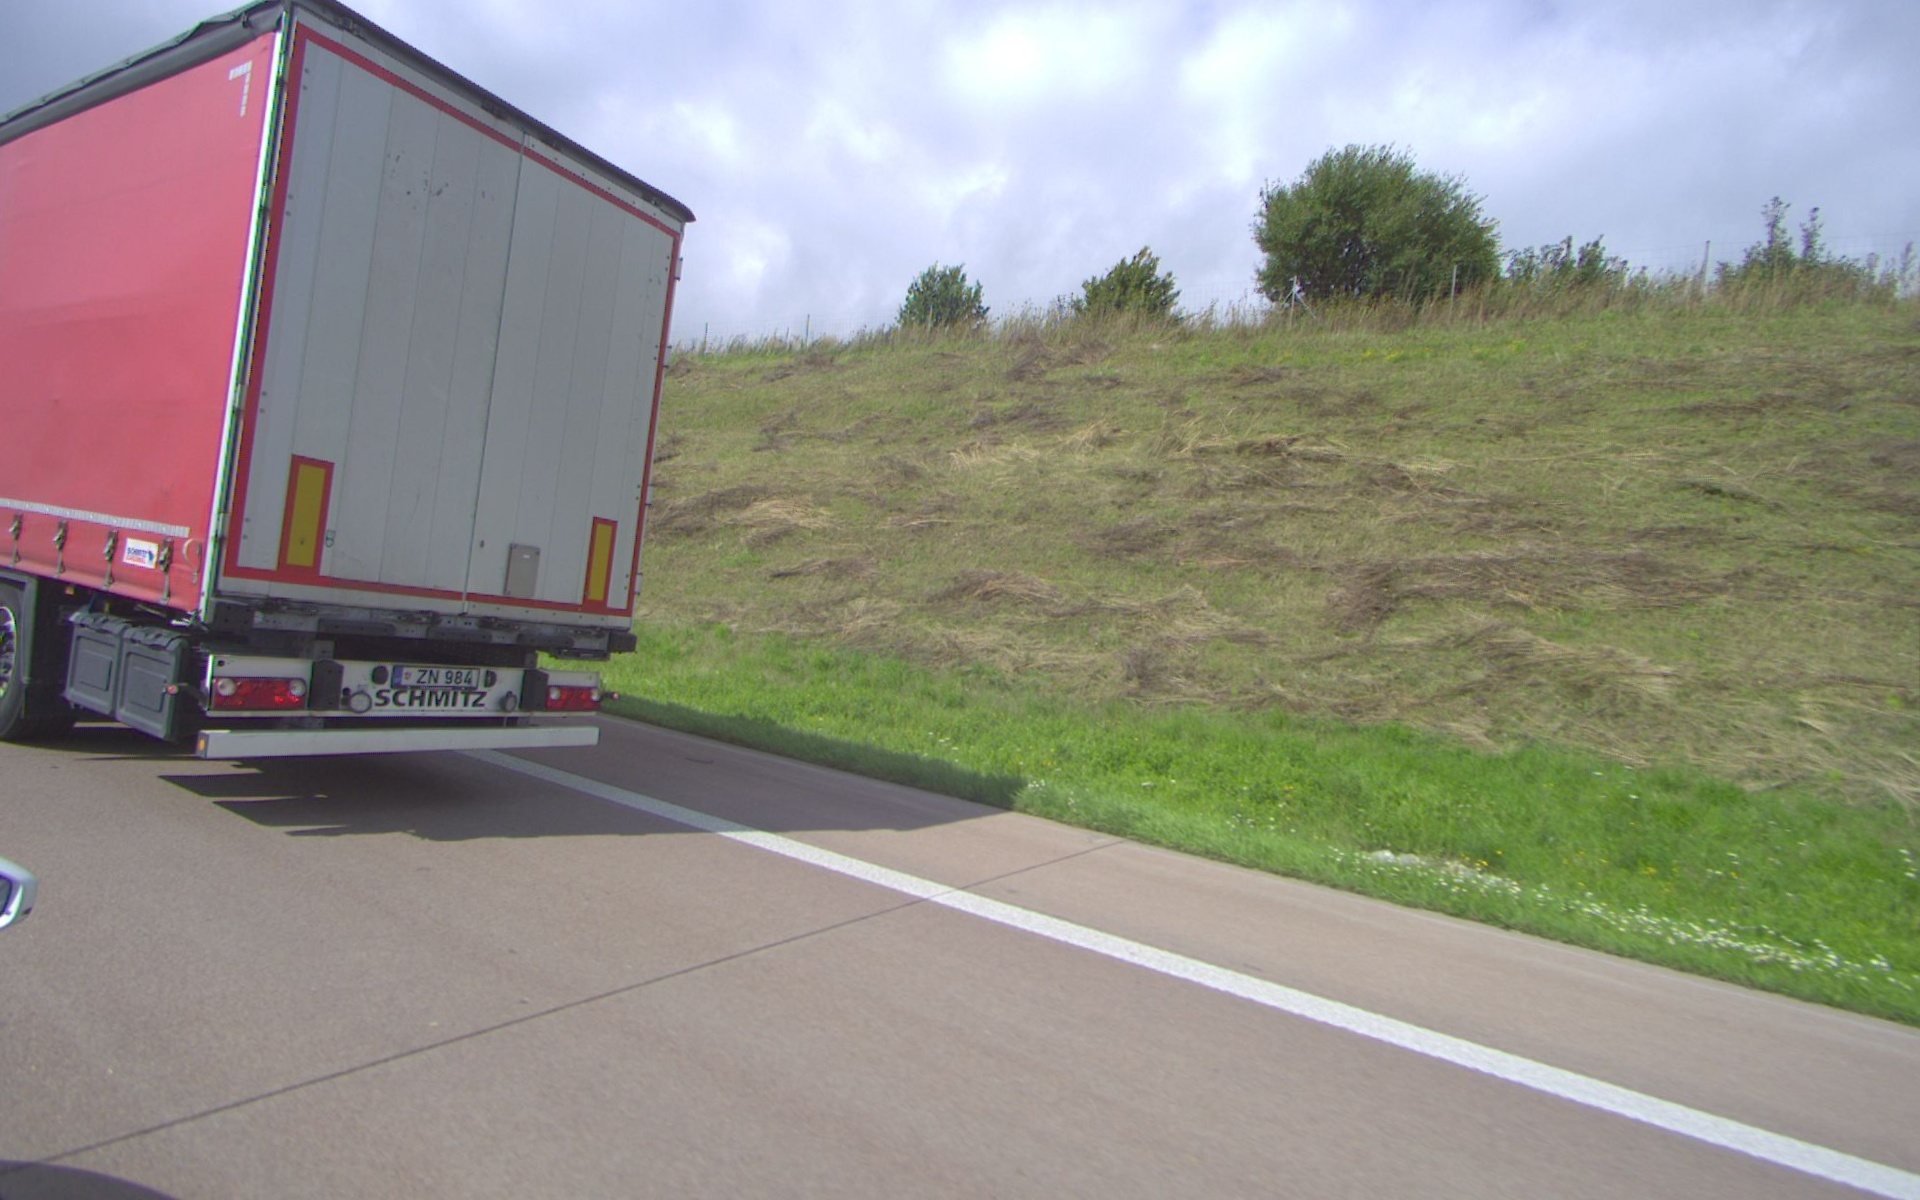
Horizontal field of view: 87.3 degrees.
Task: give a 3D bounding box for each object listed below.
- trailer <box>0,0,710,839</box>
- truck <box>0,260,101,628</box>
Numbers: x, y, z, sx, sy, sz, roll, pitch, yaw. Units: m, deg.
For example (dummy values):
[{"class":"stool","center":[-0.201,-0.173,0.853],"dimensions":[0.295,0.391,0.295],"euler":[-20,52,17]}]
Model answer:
[{"class":"trailer","center":[-7.962,-1.432,8.999],"dimensions":[12.576,4.143,2.676],"euler":[6,-1,31]},{"class":"truck","center":[-14.114,-2.134,12.758],"dimensions":[6.505,4.155,2.678],"euler":[6,-1,31]}]
